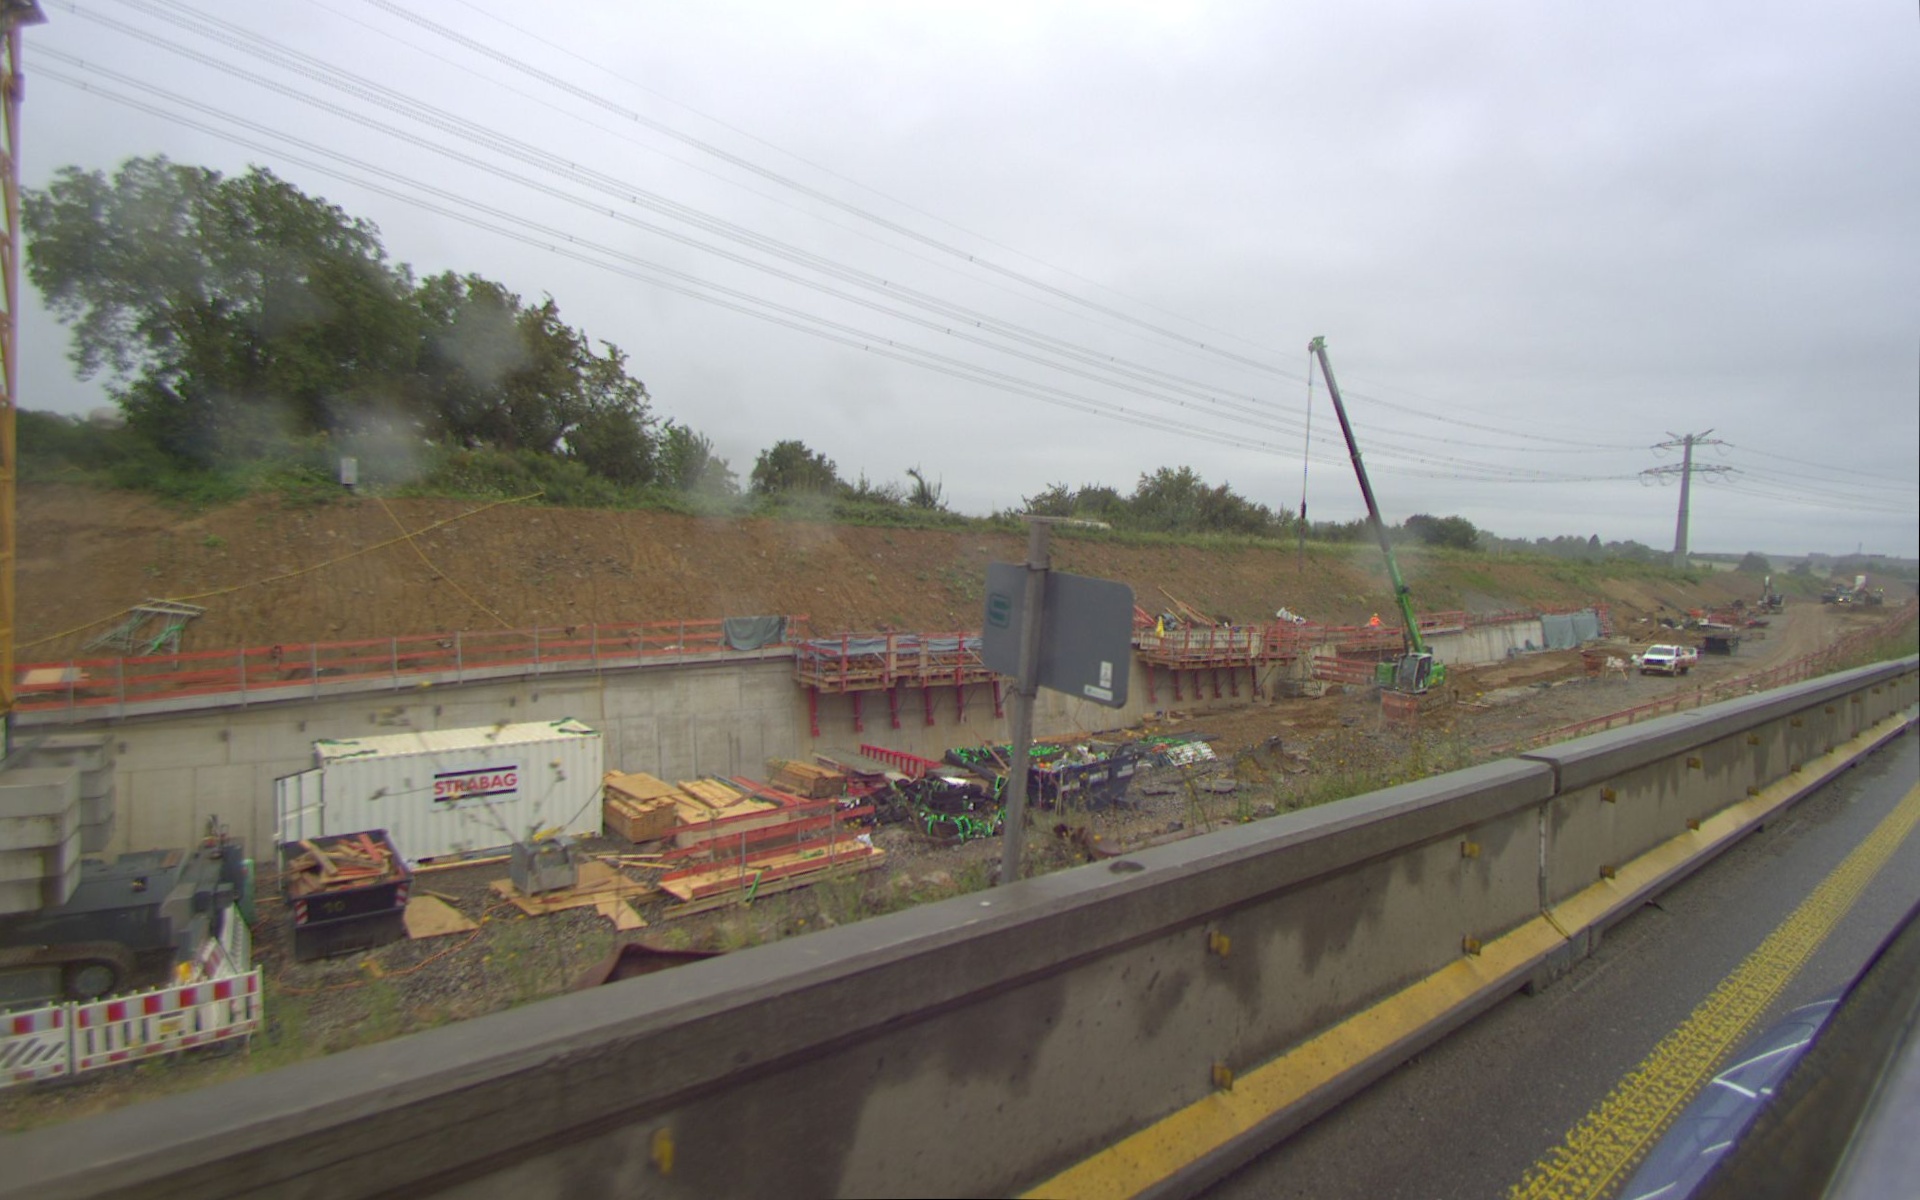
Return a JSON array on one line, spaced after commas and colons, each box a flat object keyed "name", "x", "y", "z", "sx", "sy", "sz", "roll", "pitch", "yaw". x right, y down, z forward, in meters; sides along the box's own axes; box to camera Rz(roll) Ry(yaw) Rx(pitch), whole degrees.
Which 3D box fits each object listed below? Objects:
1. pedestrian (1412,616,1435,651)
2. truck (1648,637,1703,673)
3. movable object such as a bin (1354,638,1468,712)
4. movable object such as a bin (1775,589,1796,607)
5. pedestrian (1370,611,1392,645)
[{"name": "pedestrian", "x": 31.509, "y": 2.256, "z": 68.759, "sx": 0.988, "sy": 2.260, "sz": 0.916, "roll": -2, "pitch": -3, "yaw": -39}, {"name": "truck", "x": 45.512, "y": 3.439, "z": 64.329, "sx": 5.690, "sy": 1.894, "sz": 1.764, "roll": -1, "pitch": 3, "yaw": -43}, {"name": "movable object such as a bin", "x": 23.120, "y": 3.738, "z": 51.822, "sx": 4.780, "sy": 2.836, "sz": 3.796, "roll": -8, "pitch": 6, "yaw": -44}, {"name": "movable object such as a bin", "x": 127.894, "y": -0.344, "z": 156.759, "sx": 2.246, "sy": 2.753, "sz": 3.938, "roll": 0, "pitch": 0, "yaw": 43}, {"name": "pedestrian", "x": 28.599, "y": 1.902, "z": 68.746, "sx": 0.915, "sy": 2.275, "sz": 0.990, "roll": -6, "pitch": -4, "yaw": 44}]
